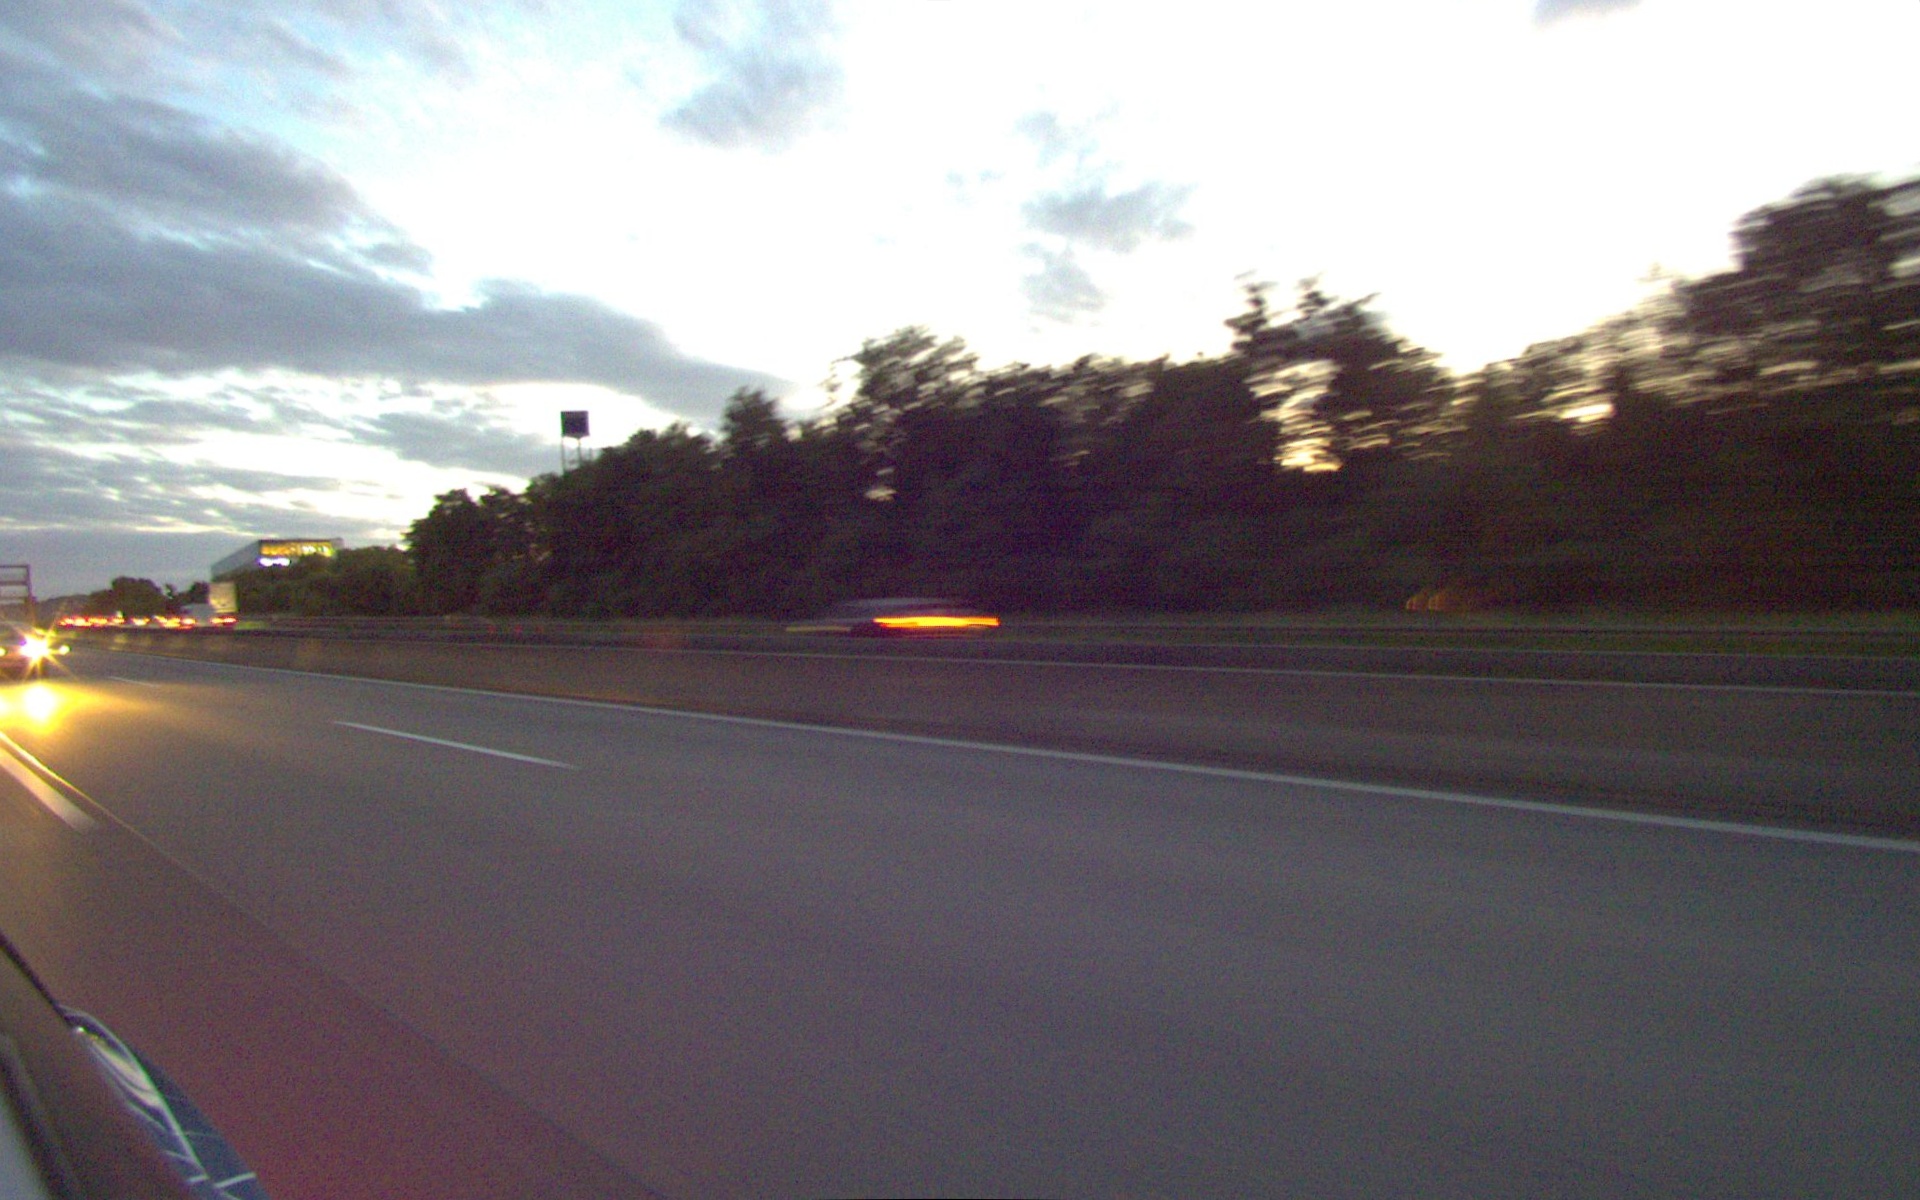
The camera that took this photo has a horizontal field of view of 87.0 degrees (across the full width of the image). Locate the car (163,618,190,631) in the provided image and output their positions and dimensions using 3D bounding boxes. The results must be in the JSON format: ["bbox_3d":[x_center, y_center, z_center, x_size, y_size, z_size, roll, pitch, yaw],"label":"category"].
[{"bbox_3d":[-95.259,3.015,123.010,4.238,1.471,1.971,-1,0,44],"label":"car"}]

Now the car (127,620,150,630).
[{"bbox_3d":[-121.441,3.735,149.617,5.025,1.412,1.971,-1,0,44],"label":"car"}]

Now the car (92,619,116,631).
[{"bbox_3d":[-116.590,3.420,137.824,4.559,1.516,1.971,-1,0,44],"label":"car"}]

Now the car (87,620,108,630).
[{"bbox_3d":[-128.263,3.707,150.499,5.025,1.484,1.971,-1,0,44],"label":"car"}]

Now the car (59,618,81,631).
[{"bbox_3d":[-127.445,3.499,144.948,5.052,1.748,1.971,-1,0,44],"label":"car"}]

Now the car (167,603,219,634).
[{"bbox_3d":[-64.530,1.522,85.072,7.095,2.450,2.300,-1,0,43],"label":"car"}]

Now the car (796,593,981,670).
[{"bbox_3d":[-1.938,0.765,26.308,4.838,1.804,1.973,-1,0,41],"label":"car"}]

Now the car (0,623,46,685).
[{"bbox_3d":[-25.203,1.370,26.306,3.998,1.491,1.695,-1,0,41],"label":"car"}]

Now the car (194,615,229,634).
[{"bbox_3d":[-73.500,2.374,99.351,4.970,1.706,1.972,-1,0,43],"label":"car"}]
